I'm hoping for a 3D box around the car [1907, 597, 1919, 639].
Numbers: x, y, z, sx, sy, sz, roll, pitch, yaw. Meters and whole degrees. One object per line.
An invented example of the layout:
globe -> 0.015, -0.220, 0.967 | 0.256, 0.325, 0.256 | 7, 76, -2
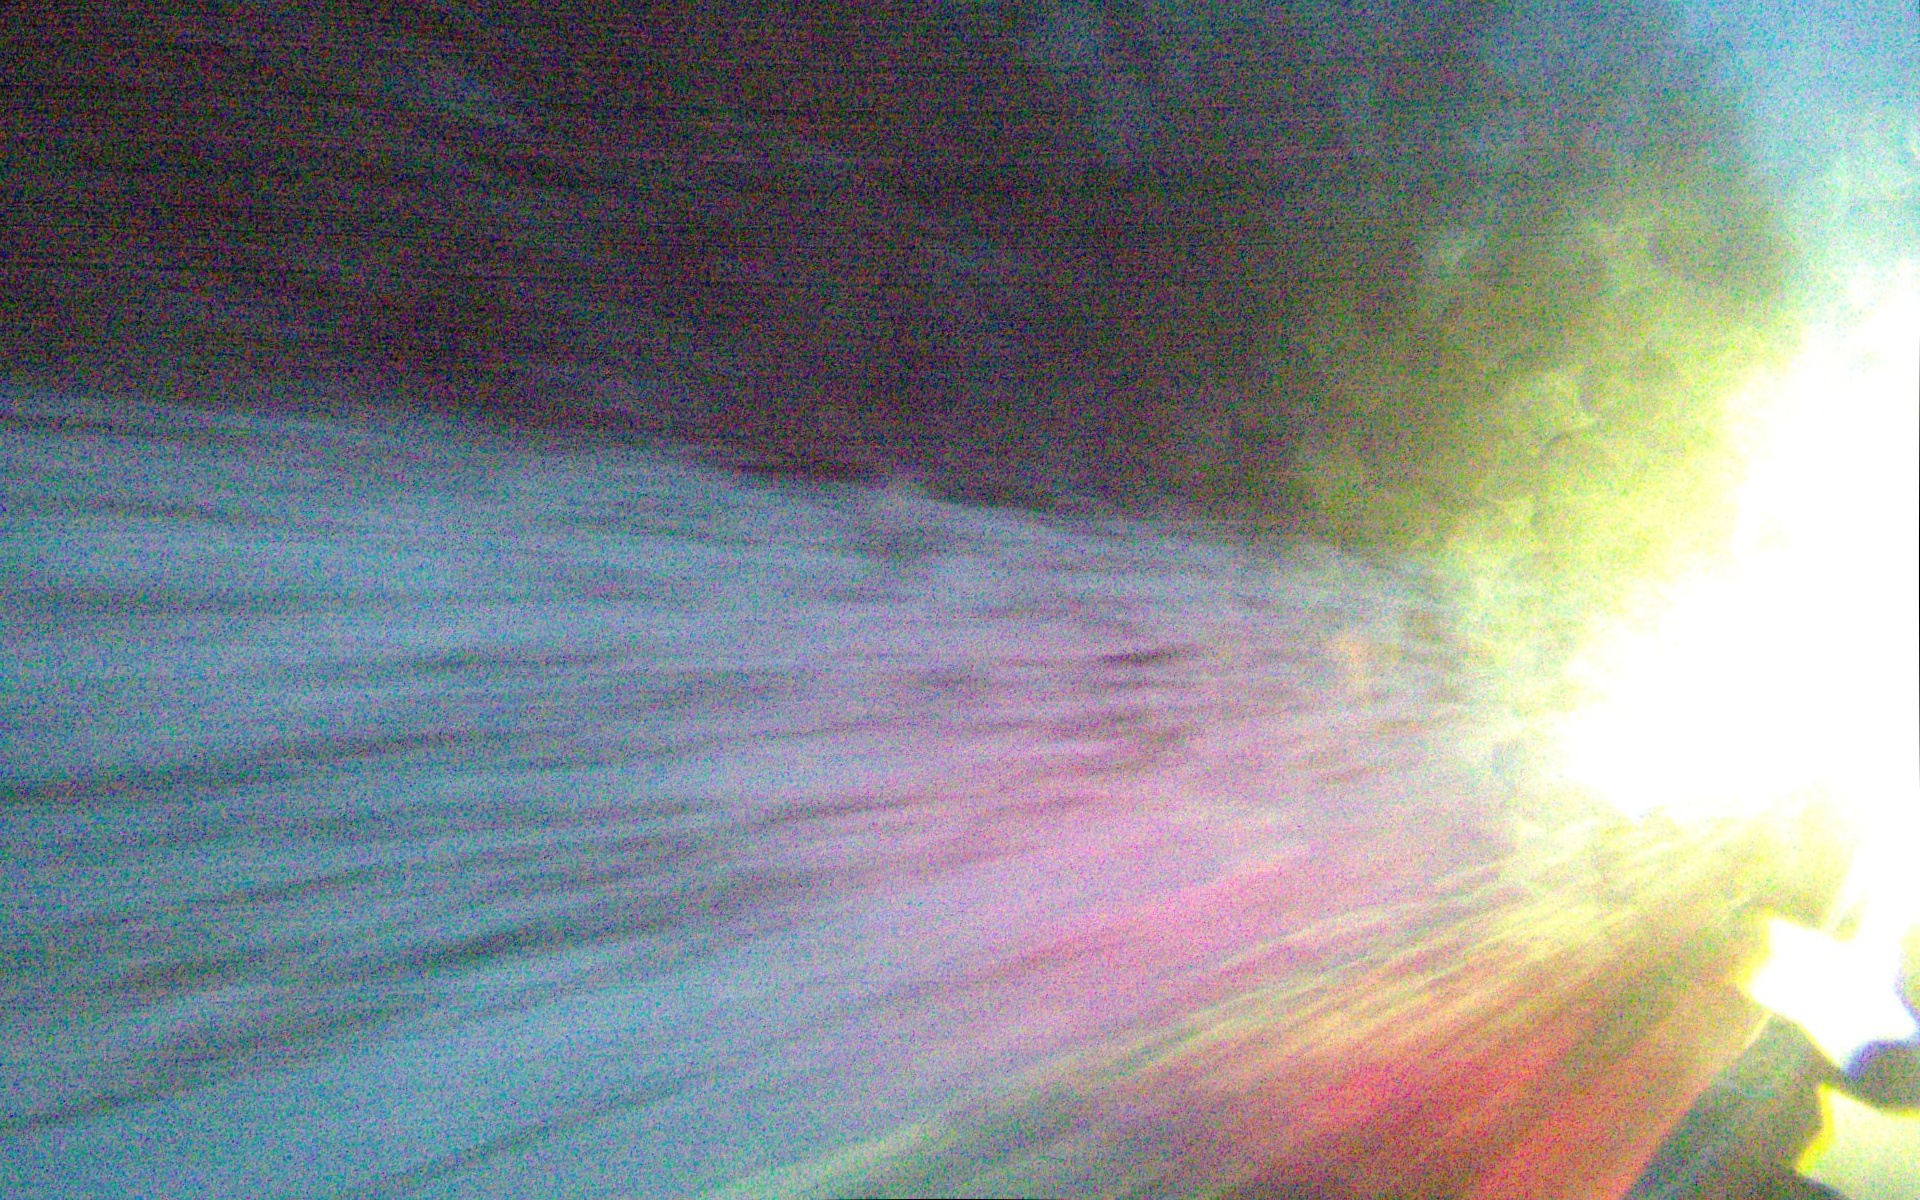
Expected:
car -> 36.426, 0.667, 37.365 | 1.992, 1.438, 3.940 | 1, 2, 42
